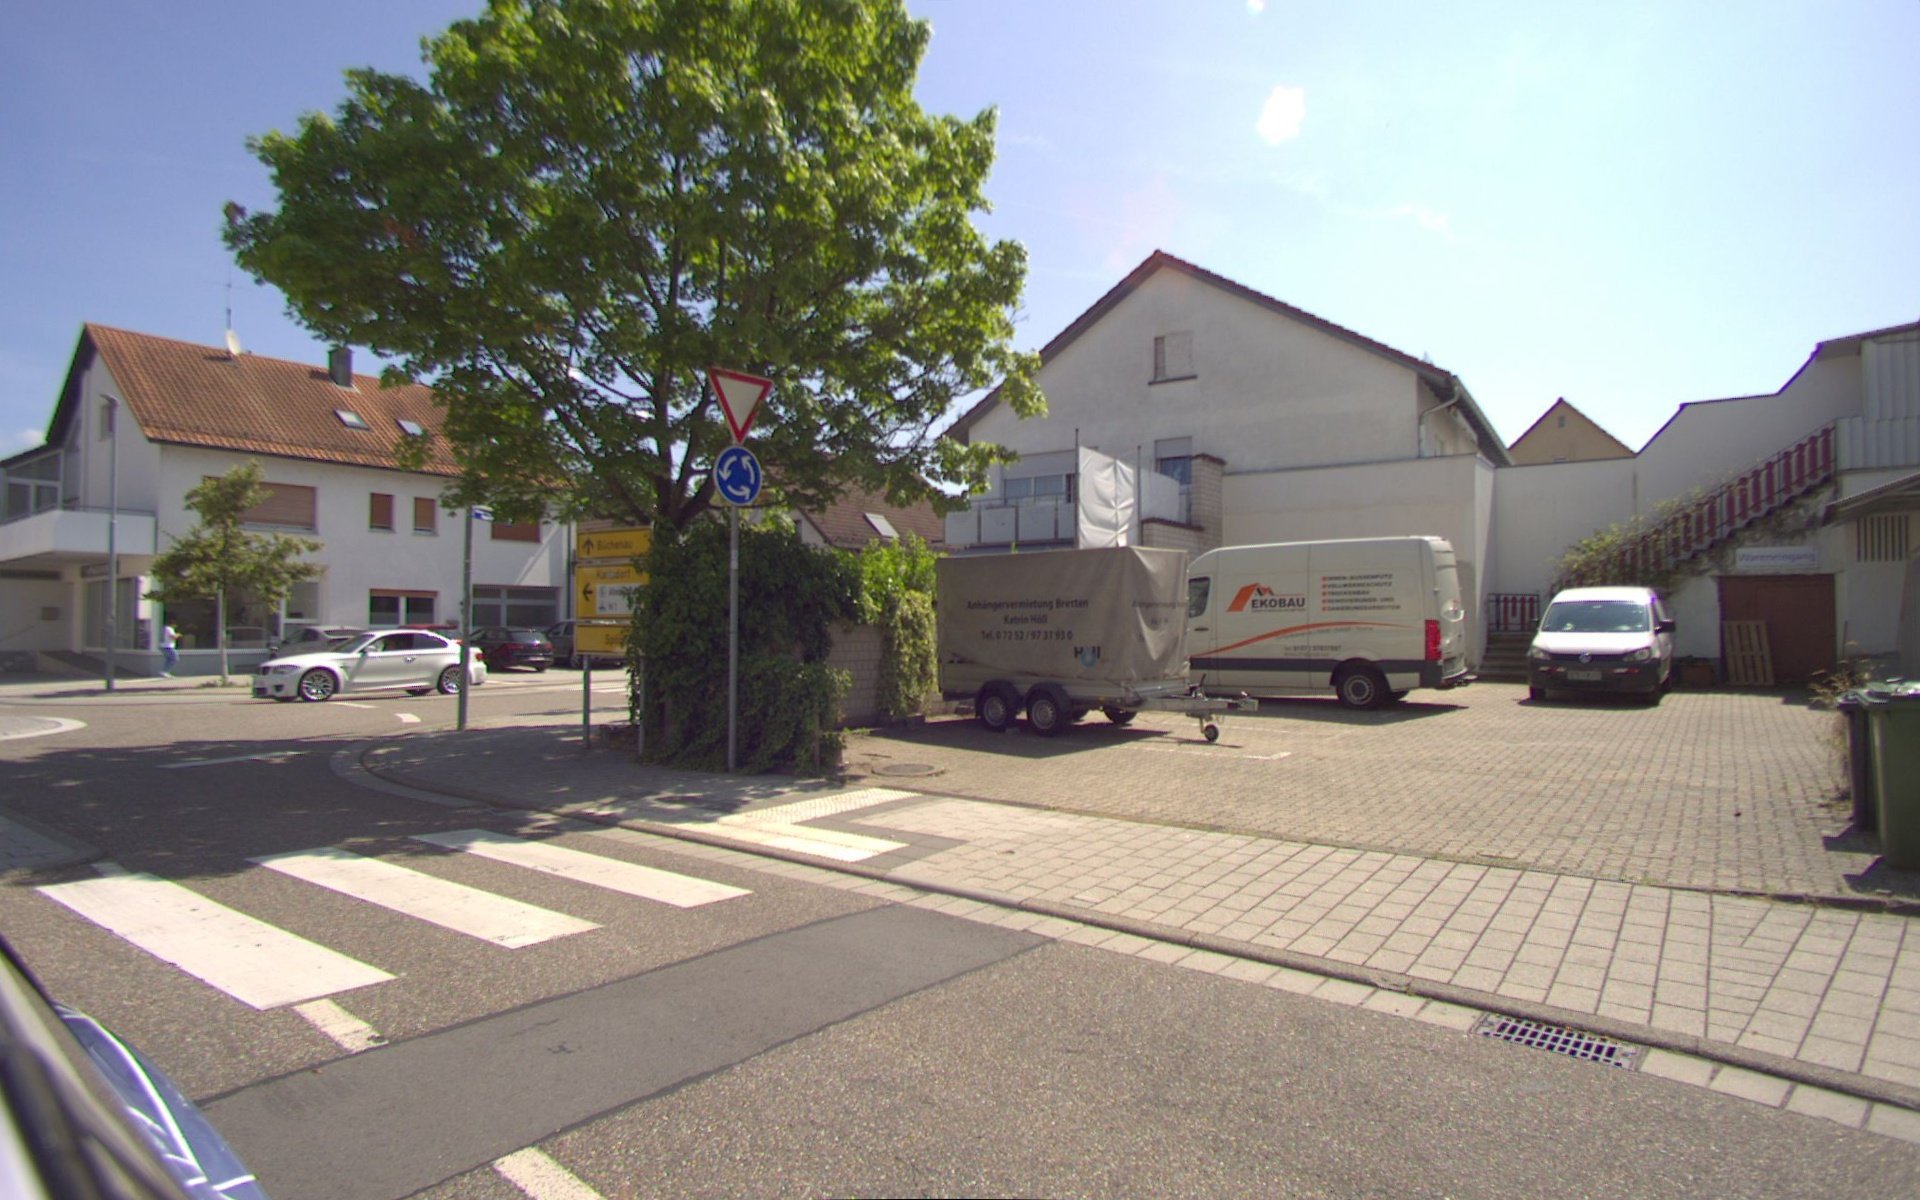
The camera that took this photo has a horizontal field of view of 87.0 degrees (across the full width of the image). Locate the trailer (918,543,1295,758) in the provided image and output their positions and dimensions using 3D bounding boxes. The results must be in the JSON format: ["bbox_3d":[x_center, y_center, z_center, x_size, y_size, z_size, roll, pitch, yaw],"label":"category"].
[{"bbox_3d":[1.789,0.603,13.188,4.516,2.353,1.861,-2,-1,38],"label":"trailer"}]

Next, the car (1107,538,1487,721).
[{"bbox_3d":[5.406,0.477,16.795,5.638,2.586,1.918,-2,-1,38],"label":"car"}]

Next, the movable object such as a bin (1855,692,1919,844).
[{"bbox_3d":[6.252,1.092,6.625,0.546,0.935,0.474,-2,-3,39],"label":"movable object such as a bin"}]

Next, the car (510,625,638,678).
[{"bbox_3d":[-13.727,1.765,35.887,4.740,1.753,1.963,-1,-2,36],"label":"car"}]

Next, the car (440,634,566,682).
[{"bbox_3d":[-15.079,1.862,33.286,4.470,1.462,1.813,-1,-2,36],"label":"car"}]

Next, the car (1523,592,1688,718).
[{"bbox_3d":[10.724,0.771,16.657,1.902,1.772,4.524,-1,0,37],"label":"car"}]

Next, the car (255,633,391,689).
[{"bbox_3d":[-18.544,1.717,29.408,4.470,1.462,1.813,-1,-2,36],"label":"car"}]

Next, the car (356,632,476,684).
[{"bbox_3d":[-16.941,1.764,31.467,3.956,1.488,1.731,-1,-2,36],"label":"car"}]

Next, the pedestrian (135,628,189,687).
[{"bbox_3d":[-22.218,1.585,28.180,0.948,1.595,0.754,-1,0,15],"label":"pedestrian"}]

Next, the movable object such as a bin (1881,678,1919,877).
[{"bbox_3d":[5.720,1.006,5.750,0.658,1.087,0.594,-2,-3,39],"label":"movable object such as a bin"}]

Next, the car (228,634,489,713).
[{"bbox_3d":[-12.327,1.499,21.013,1.877,1.460,4.282,-5,-5,35],"label":"car"}]
